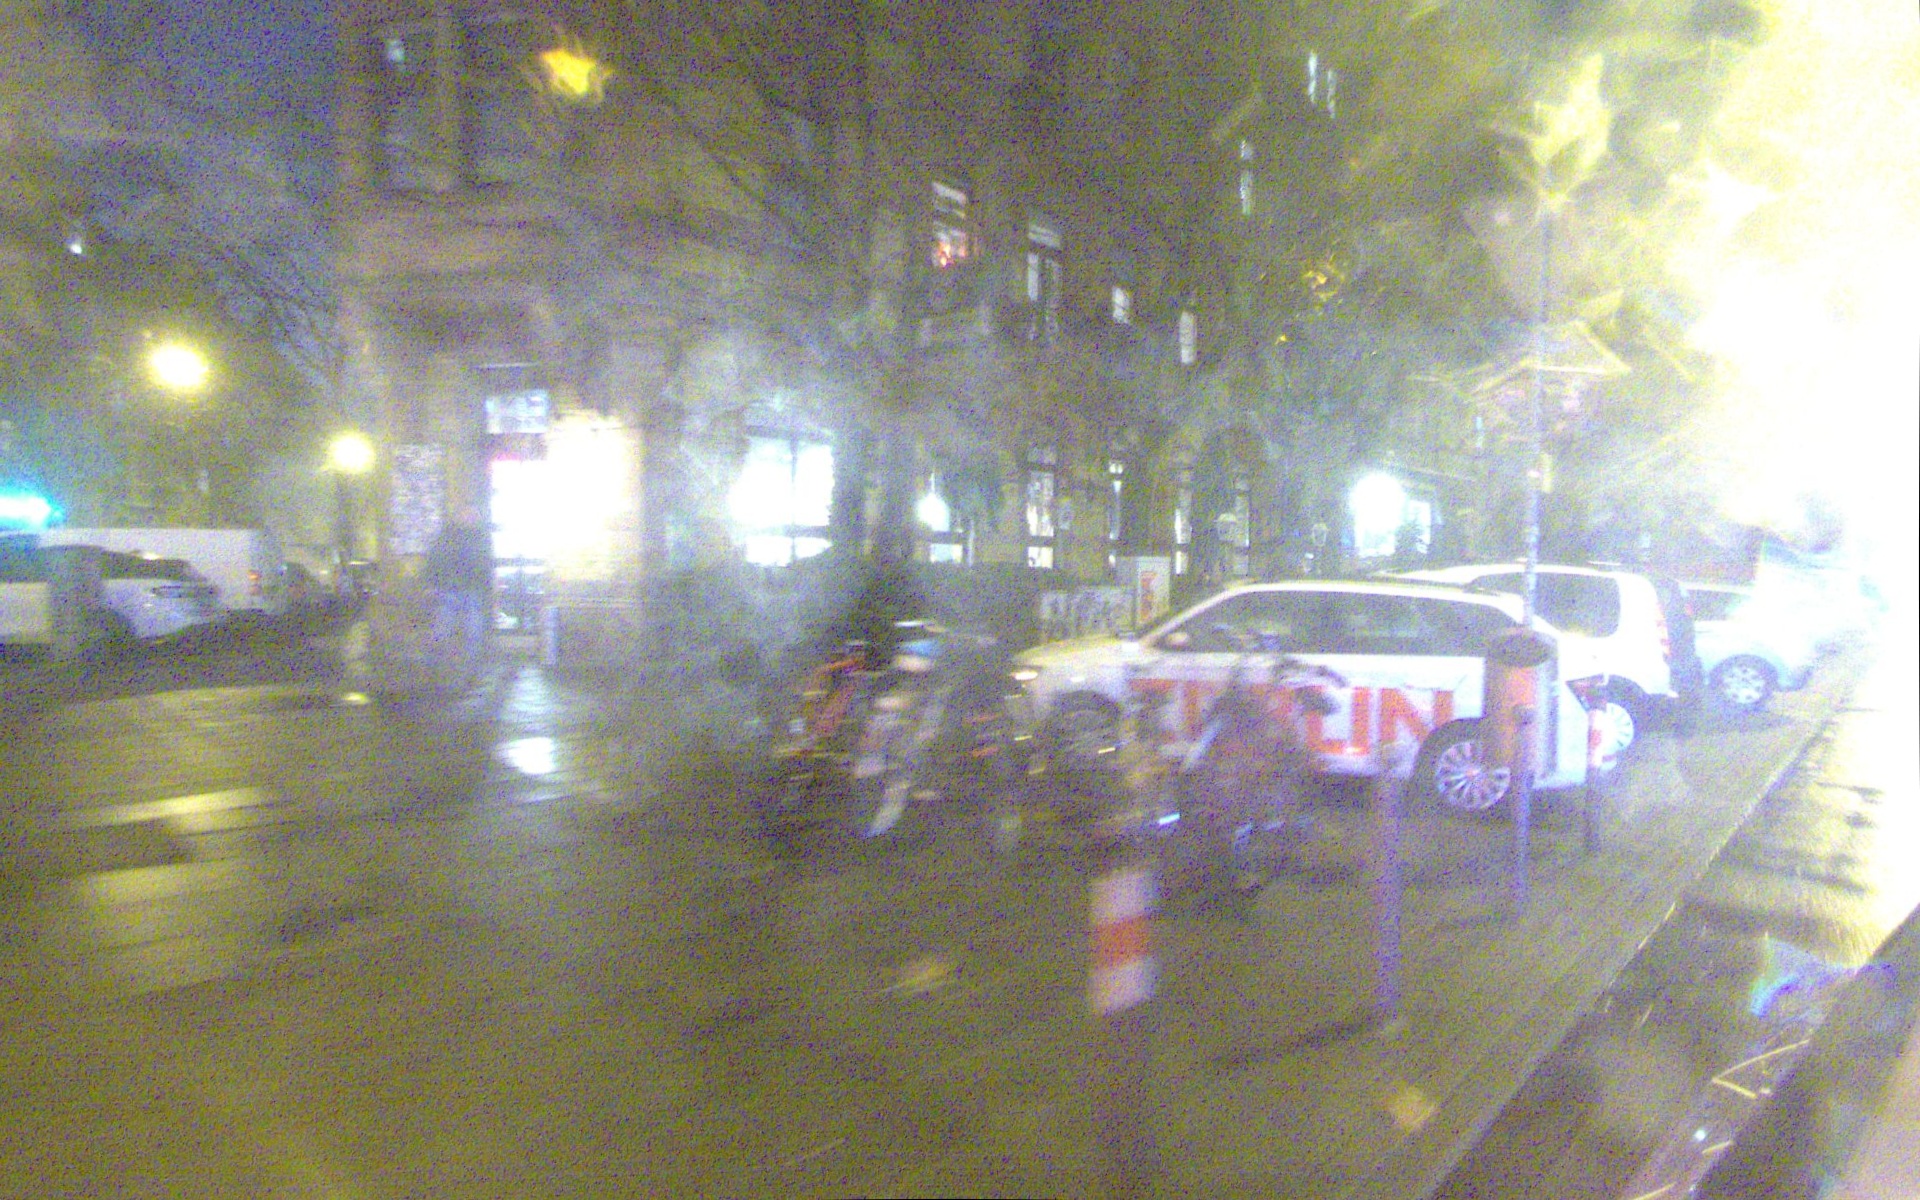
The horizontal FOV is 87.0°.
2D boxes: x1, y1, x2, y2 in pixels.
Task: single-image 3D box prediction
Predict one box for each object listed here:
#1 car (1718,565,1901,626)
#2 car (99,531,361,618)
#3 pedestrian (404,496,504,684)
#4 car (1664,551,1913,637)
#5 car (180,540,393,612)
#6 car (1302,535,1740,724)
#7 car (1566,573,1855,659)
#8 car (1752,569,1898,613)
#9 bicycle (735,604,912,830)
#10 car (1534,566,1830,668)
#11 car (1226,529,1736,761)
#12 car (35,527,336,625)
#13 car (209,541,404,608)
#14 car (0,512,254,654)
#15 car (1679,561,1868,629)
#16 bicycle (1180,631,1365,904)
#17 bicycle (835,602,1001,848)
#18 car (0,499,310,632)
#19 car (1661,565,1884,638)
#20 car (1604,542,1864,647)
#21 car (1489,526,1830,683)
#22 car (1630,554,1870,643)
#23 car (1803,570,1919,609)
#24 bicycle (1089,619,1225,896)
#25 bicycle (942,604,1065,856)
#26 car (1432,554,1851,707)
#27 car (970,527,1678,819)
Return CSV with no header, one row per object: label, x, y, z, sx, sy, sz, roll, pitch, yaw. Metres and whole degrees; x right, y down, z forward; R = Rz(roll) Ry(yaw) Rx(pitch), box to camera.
car,25.976,-0.198,31.119,3.891,1.639,1.698,3,3,23
car,-16.034,-0.561,22.540,4.370,1.784,2.004,0,1,-22
pedestrian,-5.178,-0.126,10.415,0.793,1.839,0.793,-1,3,-20
car,22.009,-0.224,27.125,4.646,2.004,1.970,3,3,16
car,-17.638,-0.626,26.789,4.370,1.784,2.004,0,1,-22
car,5.882,0.230,11.087,3.733,1.733,1.744,2,3,11
car,13.990,0.245,19.099,3.992,1.471,1.674,1,1,10
car,33.613,-0.371,39.452,3.889,1.481,1.699,3,3,22
bicycle,-0.733,0.589,5.885,0.331,1.039,1.637,2,3,18
car,12.094,0.227,17.203,3.650,1.470,1.653,3,3,13
car,4.427,0.295,9.213,3.681,1.733,1.767,2,3,11
car,-15.134,-0.463,20.117,4.370,1.784,2.004,0,1,-22
car,-18.485,-0.709,28.899,4.370,1.784,2.004,0,1,-22
car,-12.706,-0.230,13.555,4.990,1.784,2.004,0,1,-22
car,23.683,-0.200,29.651,3.891,1.763,1.698,3,3,23
bicycle,1.495,0.731,5.084,0.329,1.039,1.647,2,2,-2
bicycle,-0.171,0.587,5.568,0.331,1.106,1.637,2,2,18
car,-13.551,-0.517,15.815,5.432,1.913,2.004,0,1,-22
car,20.125,0.001,25.246,3.873,1.568,1.738,2,3,12
car,16.122,-0.170,21.271,3.868,1.966,1.740,2,3,8
car,10.219,0.004,15.078,3.680,2.053,1.717,2,3,10
car,17.958,-0.079,23.177,3.868,1.814,1.740,2,3,8
car,40.532,-0.489,45.294,3.889,1.581,1.699,3,3,22
bicycle,0.945,0.692,5.152,0.329,1.038,1.647,2,4,0
bicycle,0.286,0.618,5.575,0.331,1.038,1.640,0,5,15
car,8.458,0.284,13.030,4.018,1.617,1.824,3,3,18
car,2.348,0.346,7.325,4.205,1.592,1.763,3,3,17
